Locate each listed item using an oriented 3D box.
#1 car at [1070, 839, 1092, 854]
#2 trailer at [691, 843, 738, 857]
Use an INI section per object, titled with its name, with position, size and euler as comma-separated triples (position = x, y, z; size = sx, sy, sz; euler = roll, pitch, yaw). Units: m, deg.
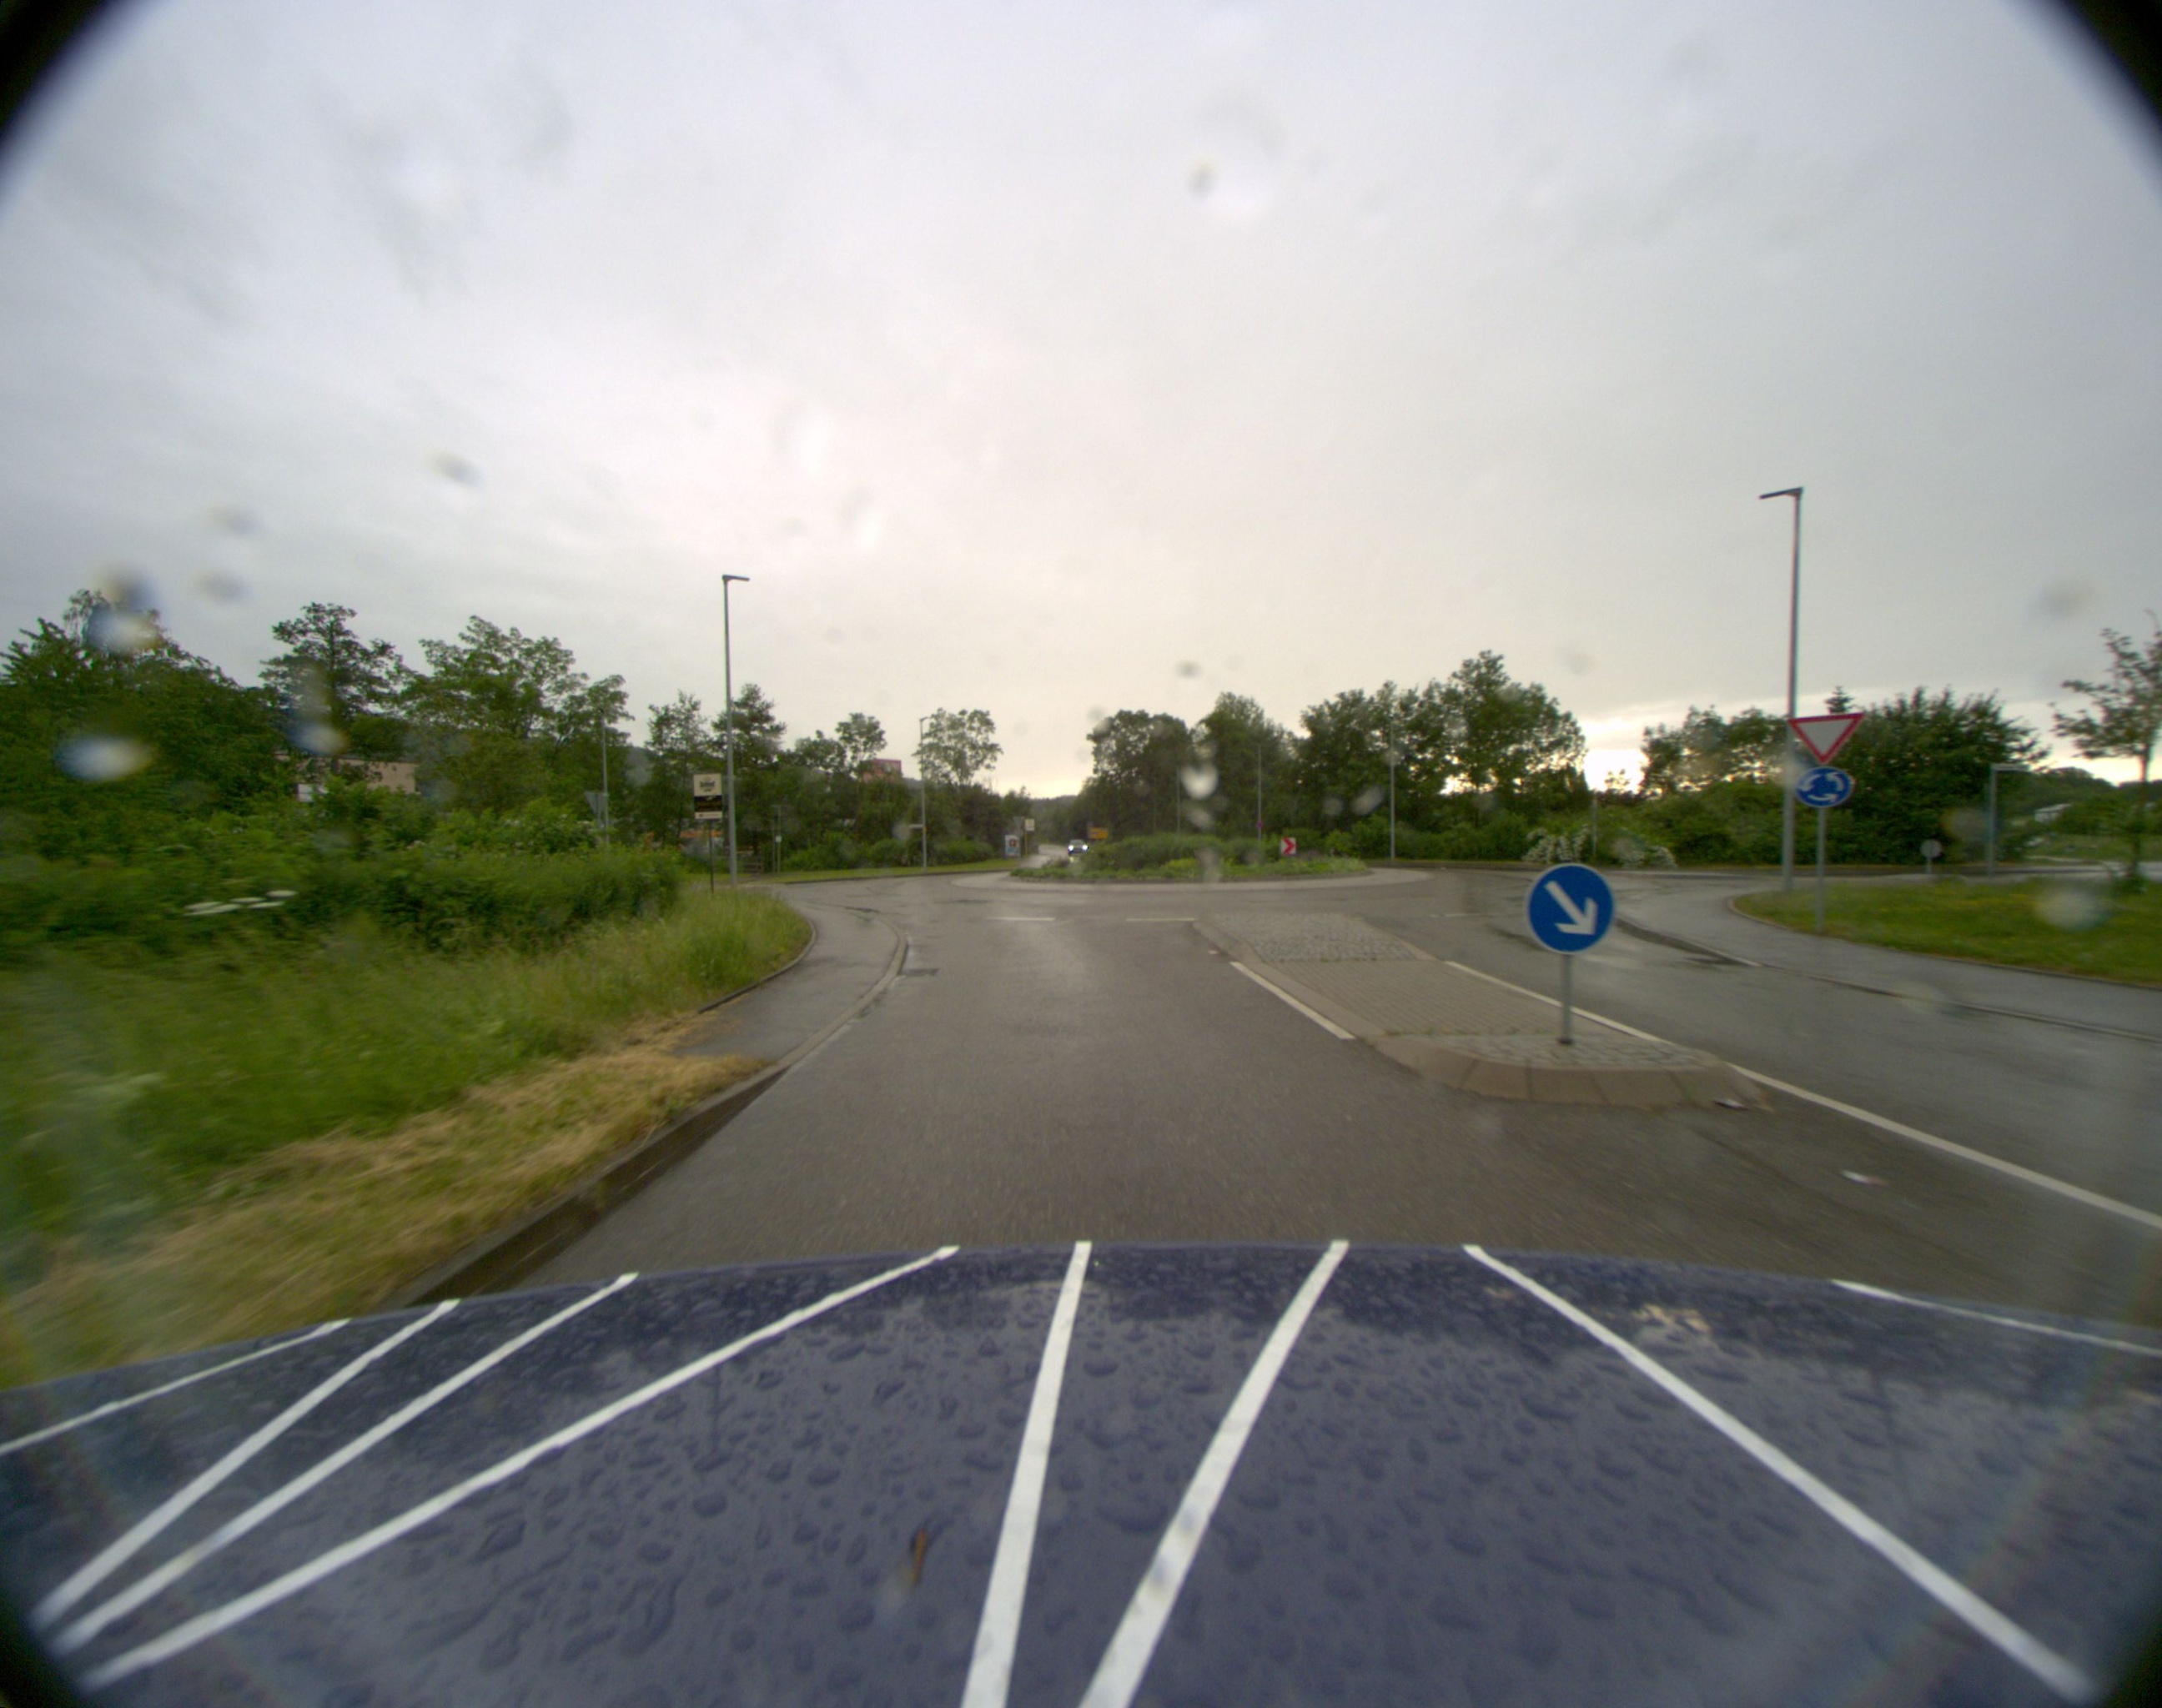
[car]
position = -0.009, -0.752, 76.993
size = 1.856, 1.481, 4.118
euler = -1, 1, -5
[trailer]
position = -58.181, -0.670, 120.685
size = 6.645, 2.003, 2.571
euler = -2, 3, -26
